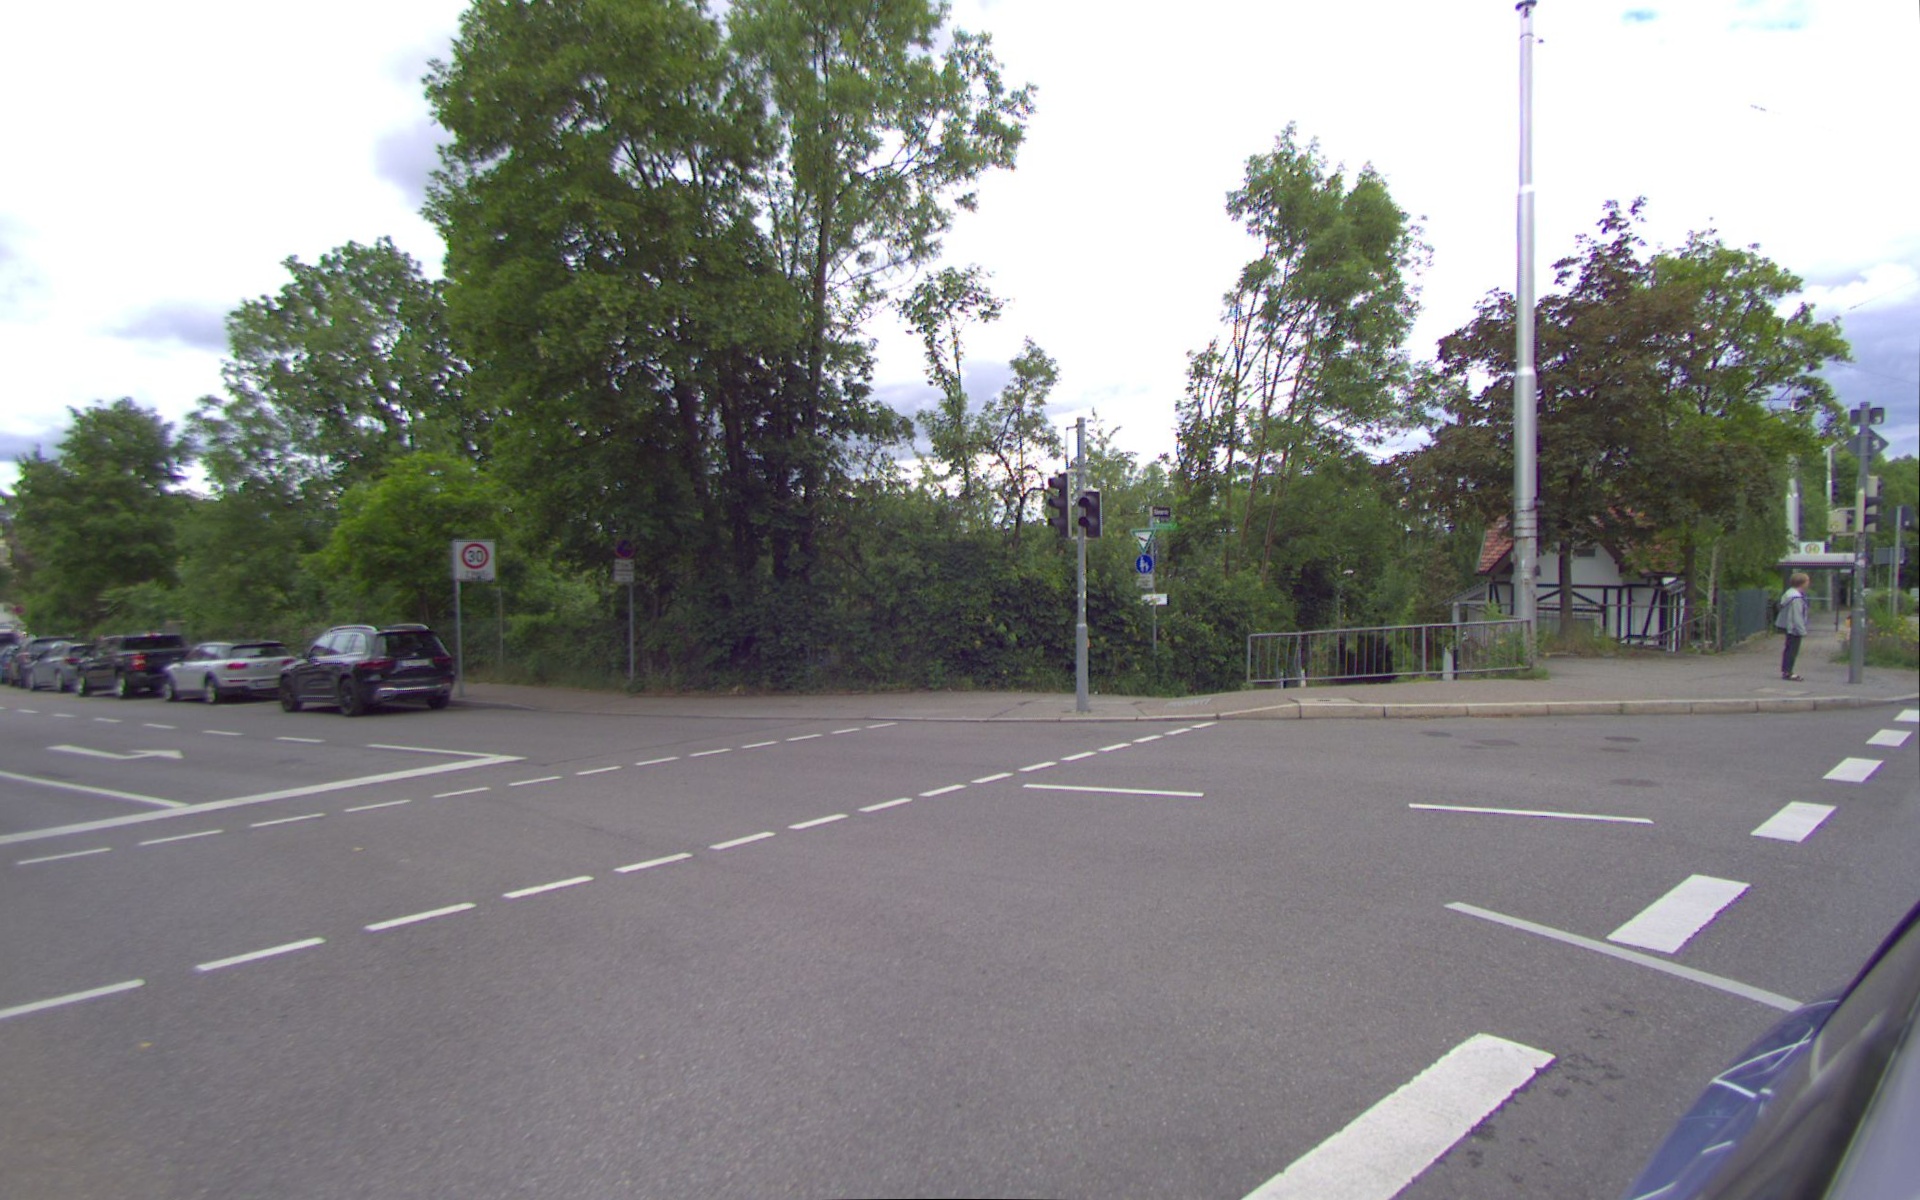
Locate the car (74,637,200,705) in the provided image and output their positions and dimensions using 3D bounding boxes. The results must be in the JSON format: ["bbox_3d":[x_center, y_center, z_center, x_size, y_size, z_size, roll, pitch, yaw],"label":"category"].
[{"bbox_3d":[-22.234,1.853,27.283,4.476,1.649,1.610,-2,-1,37],"label":"car"}]

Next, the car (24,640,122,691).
[{"bbox_3d":[-27.447,1.973,31.282,3.799,1.424,1.545,-2,-1,37],"label":"car"}]

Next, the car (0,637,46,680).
[{"bbox_3d":[-36.550,2.227,38.884,4.005,1.532,1.544,-2,-1,39],"label":"car"}]

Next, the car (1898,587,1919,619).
[{"bbox_3d":[44.704,0.137,46.556,1.799,1.410,4.227,2,2,37],"label":"car"}]

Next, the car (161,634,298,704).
[{"bbox_3d":[-17.638,1.601,24.393,3.756,1.473,1.609,-2,1,37],"label":"car"}]

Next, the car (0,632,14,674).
[{"bbox_3d":[-41.911,2.258,43.346,4.234,1.742,1.543,-2,-1,40],"label":"car"}]

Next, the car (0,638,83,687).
[{"bbox_3d":[-31.462,2.100,34.620,4.019,1.532,1.544,-2,-1,39],"label":"car"}]

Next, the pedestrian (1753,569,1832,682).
[{"bbox_3d":[13.018,0.376,15.835,0.607,1.709,0.697,0,3,-27],"label":"pedestrian"}]

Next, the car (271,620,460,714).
[{"bbox_3d":[-11.857,1.275,20.086,4.241,1.640,1.724,-2,-1,37],"label":"car"}]
